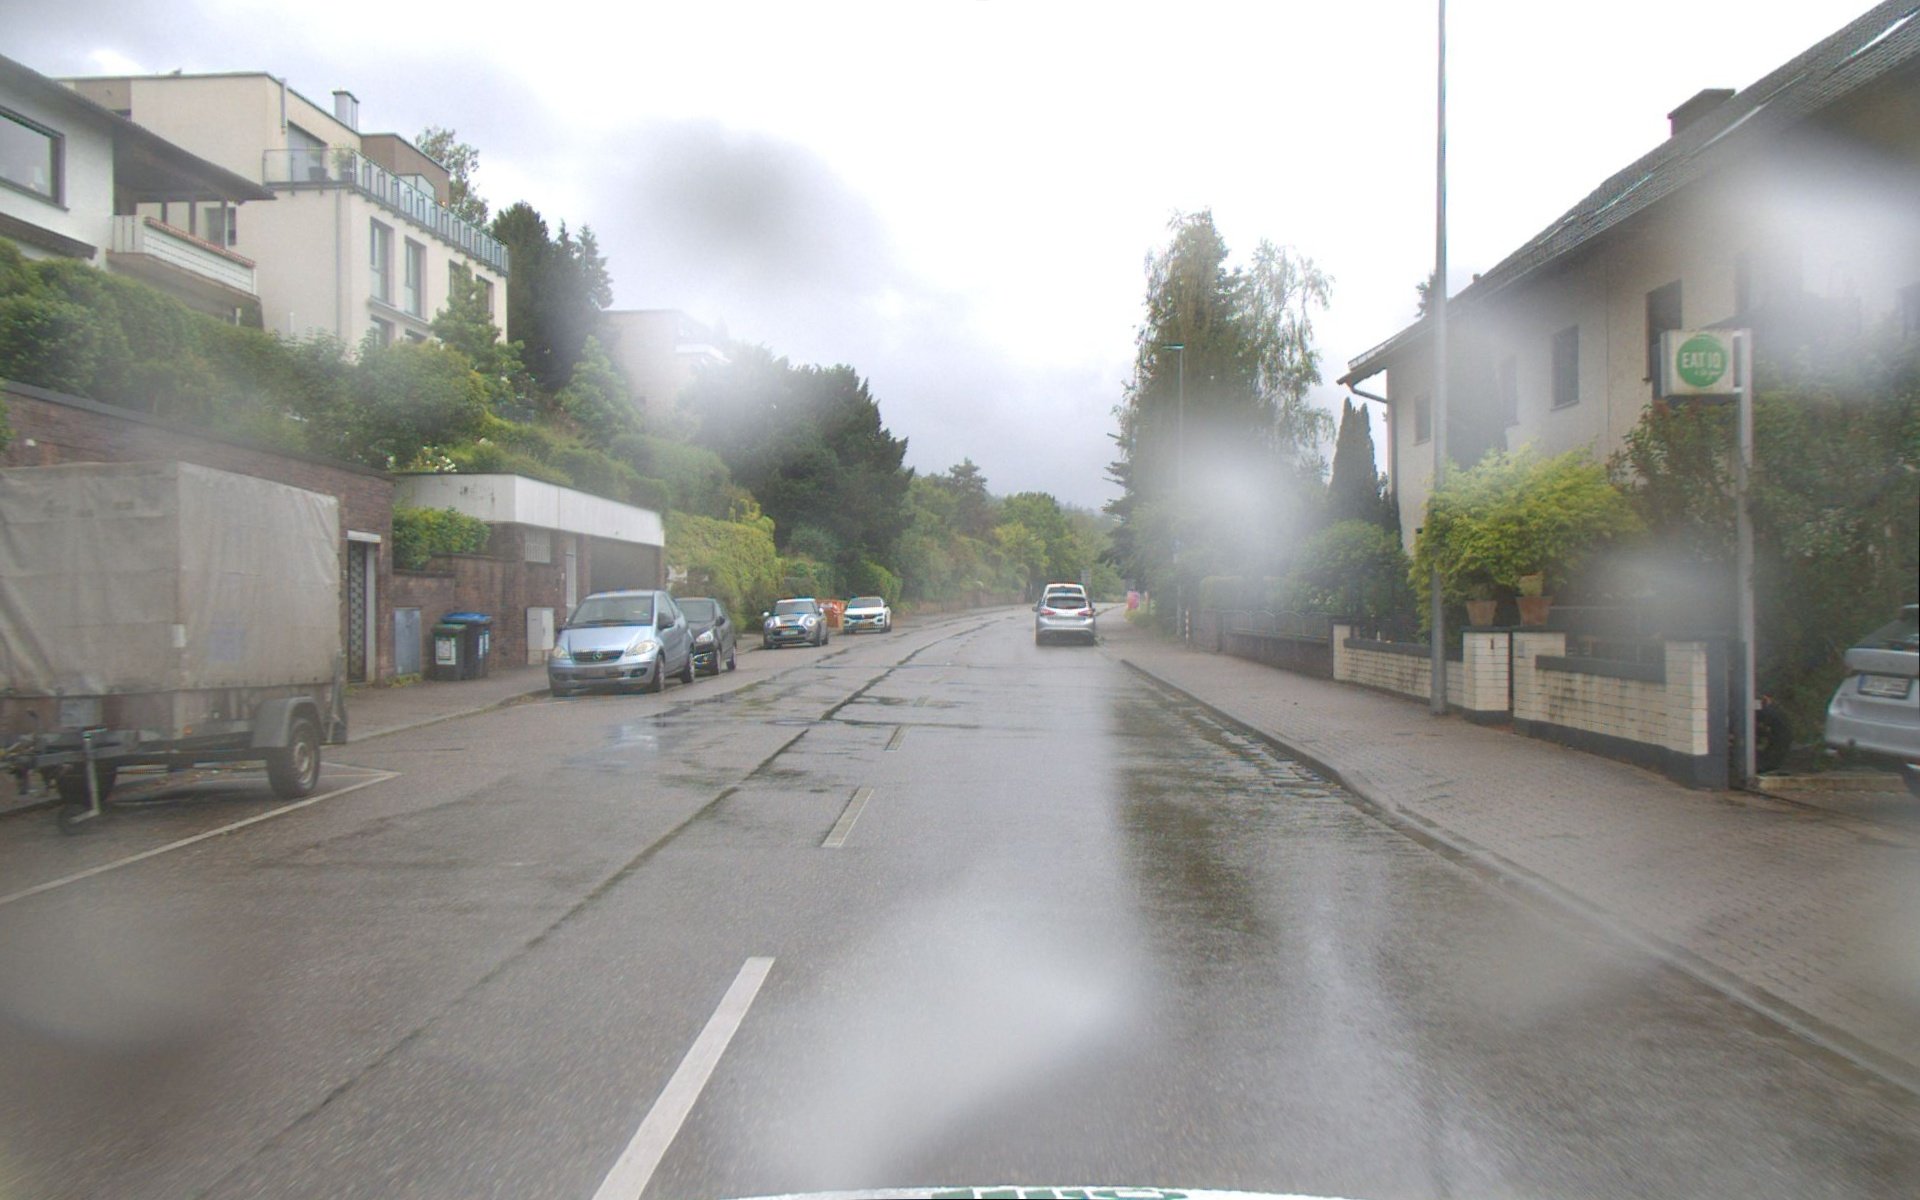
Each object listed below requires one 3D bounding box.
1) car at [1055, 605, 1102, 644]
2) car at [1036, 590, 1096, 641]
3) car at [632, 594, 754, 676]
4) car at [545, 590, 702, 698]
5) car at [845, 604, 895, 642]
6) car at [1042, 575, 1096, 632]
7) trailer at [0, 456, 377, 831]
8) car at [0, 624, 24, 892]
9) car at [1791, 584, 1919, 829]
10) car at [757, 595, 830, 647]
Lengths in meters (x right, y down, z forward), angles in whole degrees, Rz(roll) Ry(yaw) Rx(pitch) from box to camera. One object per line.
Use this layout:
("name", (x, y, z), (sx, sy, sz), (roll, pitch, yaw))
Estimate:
("car", (4.452, 0.909, 62.183), (1.673, 1.428, 4.205), (0, 0, 4))
("car", (3.235, 0.459, 50.395), (1.751, 1.485, 4.310), (0, 0, 4))
("car", (-5.196, 0.645, 32.614), (1.720, 1.433, 3.704), (-3, 0, 0))
("car", (-5.428, 0.660, 27.109), (1.720, 1.566, 3.756), (-3, 0, 0))
("car", (-3.731, 0.950, 68.967), (1.719, 1.524, 4.220), (-1, -1, 1))
("car", (3.689, 0.128, 56.146), (1.747, 1.822, 4.363), (0, 0, 4))
("trailer", (-5.805, 0.293, 12.526), (1.504, 2.441, 3.073), (-2, 0, 2))
("car", (-5.812, 0.850, 6.831), (1.771, 1.373, 3.775), (-1, 0, -1))
("car", (7.860, 0.713, 10.666), (4.136, 1.471, 1.702), (2, 0, -2))
("car", (-4.986, 0.609, 49.832), (1.720, 1.427, 3.770), (-3, 0, 1))
